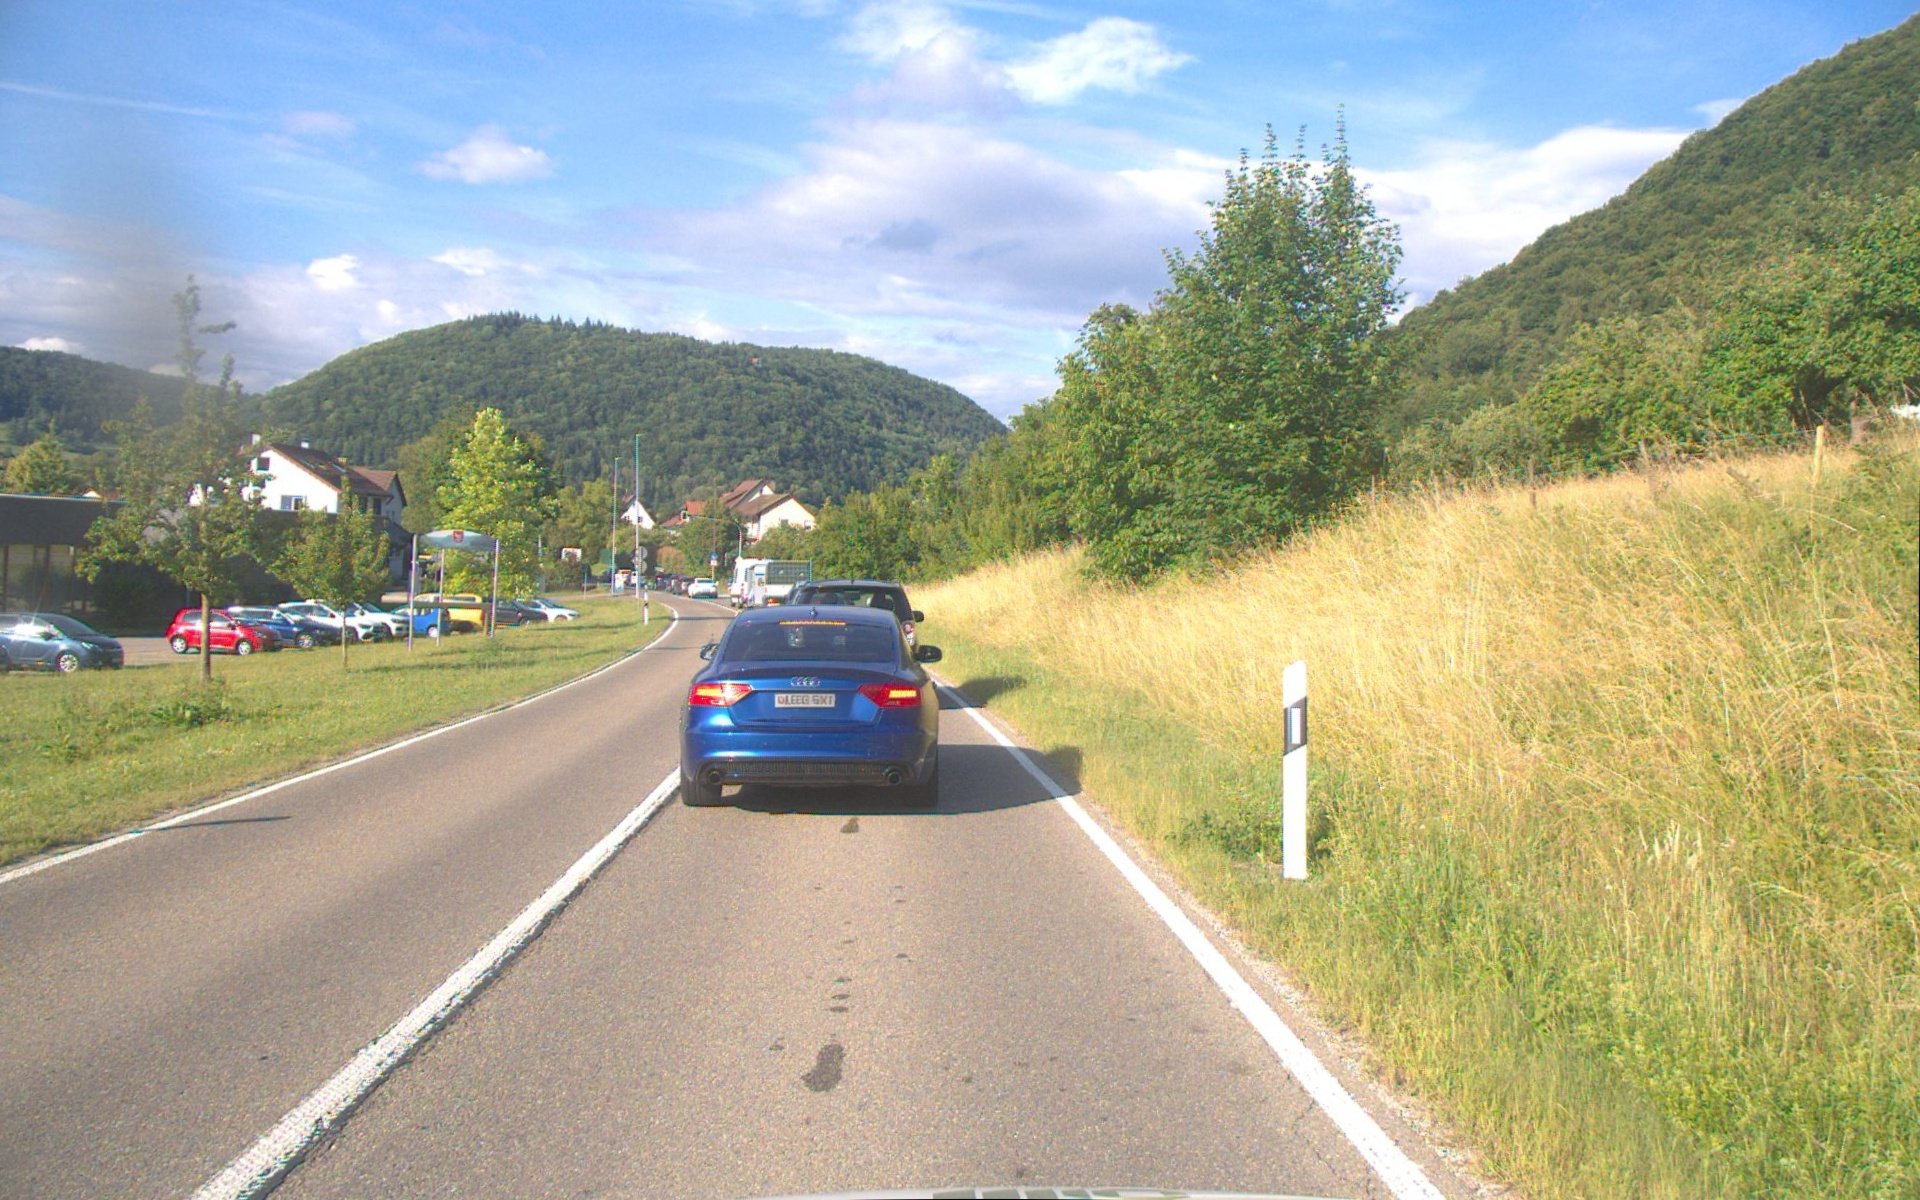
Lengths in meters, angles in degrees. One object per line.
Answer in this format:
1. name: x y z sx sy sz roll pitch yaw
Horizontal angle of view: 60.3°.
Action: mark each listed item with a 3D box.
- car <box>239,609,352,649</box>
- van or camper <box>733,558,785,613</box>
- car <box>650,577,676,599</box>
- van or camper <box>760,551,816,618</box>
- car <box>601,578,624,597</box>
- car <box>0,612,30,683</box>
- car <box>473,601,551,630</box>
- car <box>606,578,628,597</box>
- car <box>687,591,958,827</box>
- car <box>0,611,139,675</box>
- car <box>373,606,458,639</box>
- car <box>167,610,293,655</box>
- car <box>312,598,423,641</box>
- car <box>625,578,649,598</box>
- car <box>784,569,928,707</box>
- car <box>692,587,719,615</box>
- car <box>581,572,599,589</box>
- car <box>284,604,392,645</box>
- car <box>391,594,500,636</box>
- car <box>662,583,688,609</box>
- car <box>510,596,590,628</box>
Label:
1. car: -24.585 1.059 61.244 3.548 1.429 1.598 0 1 4
2. van or camper: -10.390 -0.729 85.053 2.240 2.761 5.751 -1 0 -11
3. car: -26.739 -1.102 148.759 1.652 1.958 3.978 -1 0 -19
4. van or camper: -6.926 -0.599 66.181 2.013 2.549 5.801 -1 0 -8
5. car: -37.571 -1.361 178.639 1.926 1.958 3.976 -1 0 -20
6. car: -25.723 1.162 41.480 3.781 1.752 1.756 1 0 1
7. car: -23.480 0.791 86.673 3.634 1.464 1.510 0 0 4
8. car: -35.493 -1.314 170.951 1.652 1.958 3.976 -1 0 -20
9. car: -1.023 0.681 12.310 1.708 1.476 3.513 0 0 -5
10. car: -25.169 1.182 46.092 3.738 1.752 1.733 0 0 3
11. car: -24.272 0.995 73.799 3.302 1.397 1.659 0 0 -3
12. car: -24.781 1.095 56.231 3.548 1.469 1.649 0 0 4
13. car: -24.292 0.789 67.888 3.991 1.702 1.597 0 0 4
14. car: -31.754 -1.177 162.505 1.653 1.958 3.974 -1 0 -21
15. car: -1.449 0.456 21.952 1.615 1.653 3.511 2 0 -8
16. car: -18.290 0.031 118.595 1.631 1.958 3.987 -1 0 -13
17. car: -43.431 -2.243 194.144 1.652 1.958 3.976 0 0 -20
18. car: -24.254 0.949 64.565 3.589 1.520 1.598 0 1 4
19. car: -23.719 0.687 76.328 4.457 1.846 1.842 0 0 4
20. car: -22.259 -0.315 129.211 1.632 1.958 3.984 -1 0 -15
21. car: -22.519 0.638 90.863 3.950 1.689 1.657 0 0 4
